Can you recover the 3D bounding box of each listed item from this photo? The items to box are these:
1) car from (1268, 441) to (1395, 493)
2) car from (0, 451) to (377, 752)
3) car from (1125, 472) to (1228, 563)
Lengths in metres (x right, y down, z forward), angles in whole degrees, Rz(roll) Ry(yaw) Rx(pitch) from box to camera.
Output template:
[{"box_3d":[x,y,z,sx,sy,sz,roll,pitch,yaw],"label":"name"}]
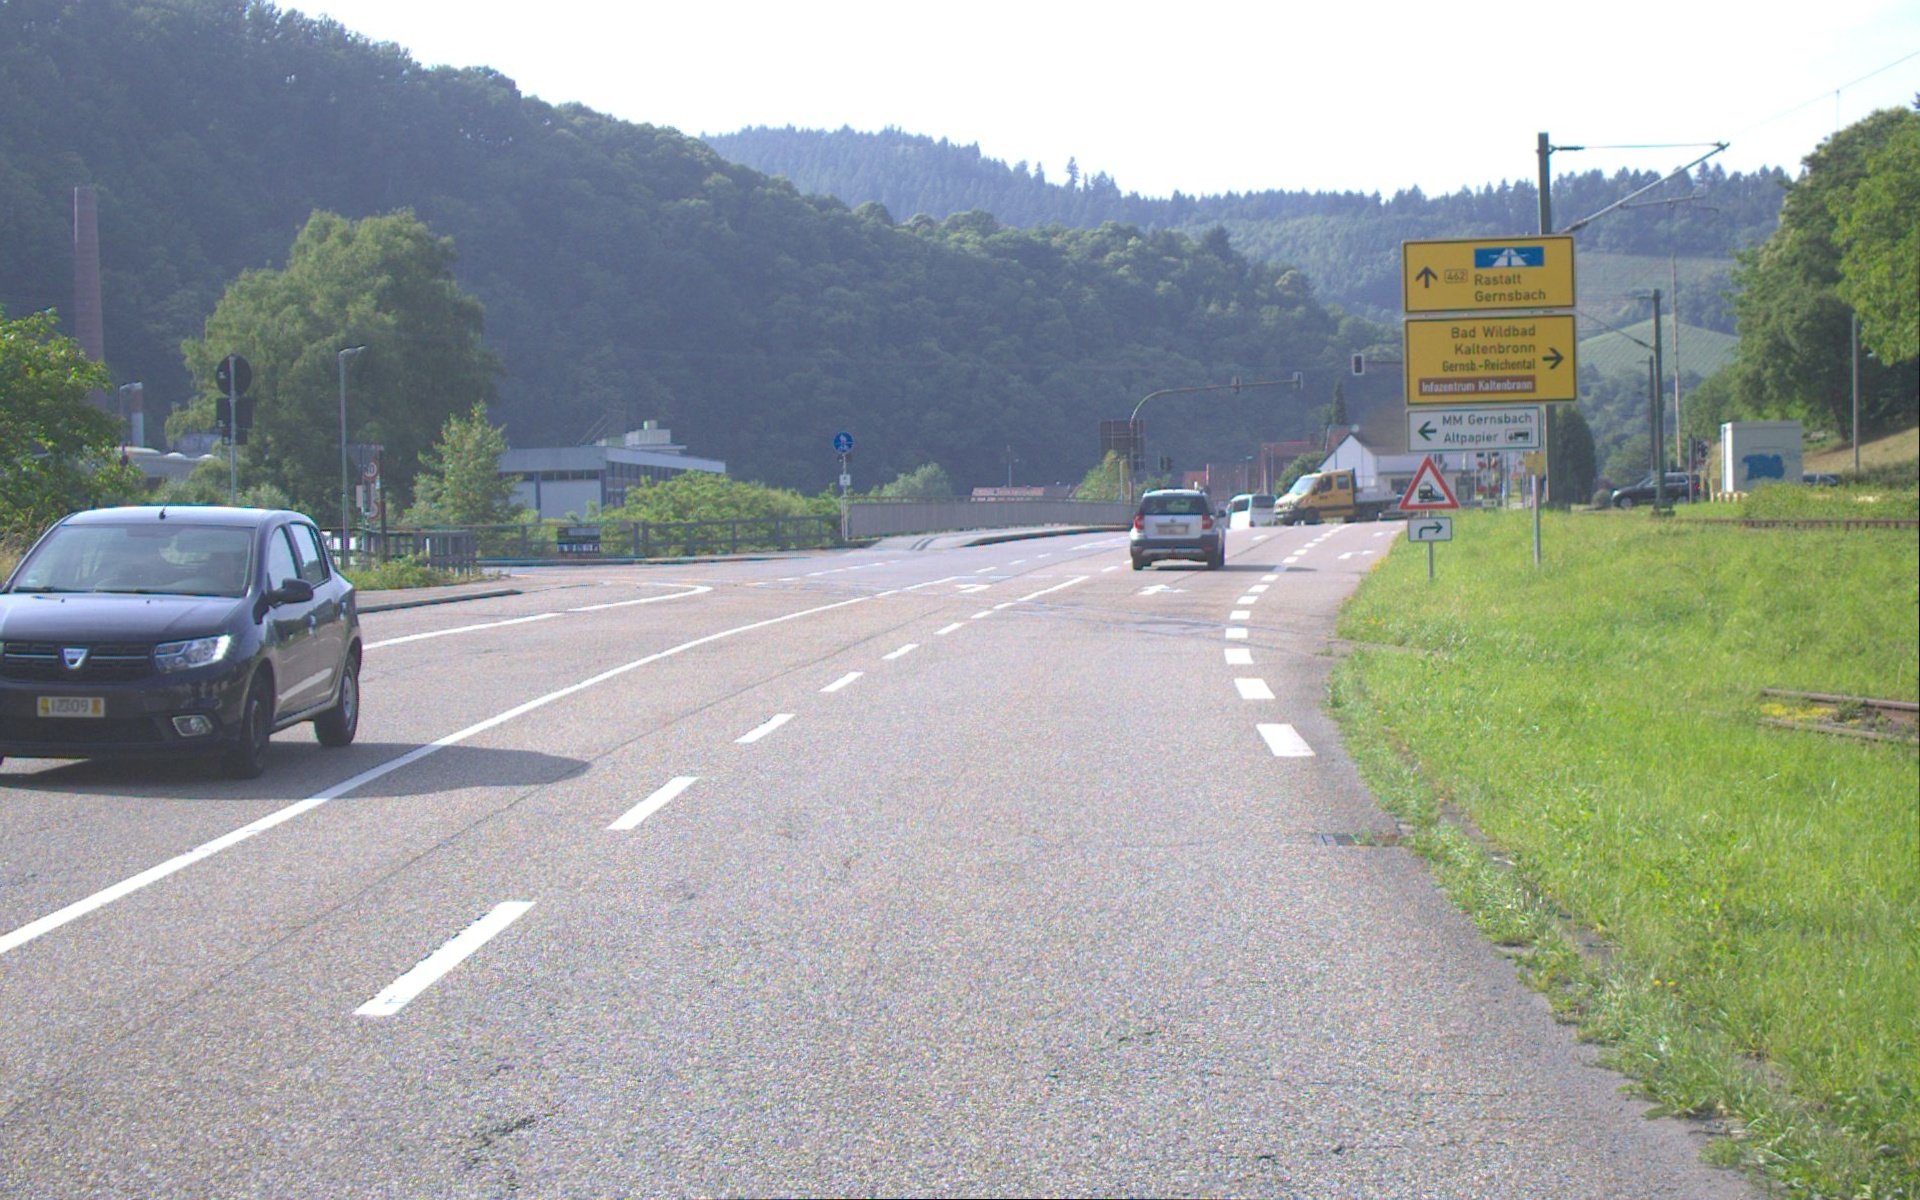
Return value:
[{"box_3d":[16.525,-5.902,152.787,5.278,2.006,2.000,-4,2,-27],"label":"car"},{"box_3d":[-4.717,-0.063,20.323,1.847,1.579,4.317,1,2,-1],"label":"car"},{"box_3d":[4.478,-1.712,71.139,1.994,1.717,3.990,-3,1,4],"label":"car"}]
